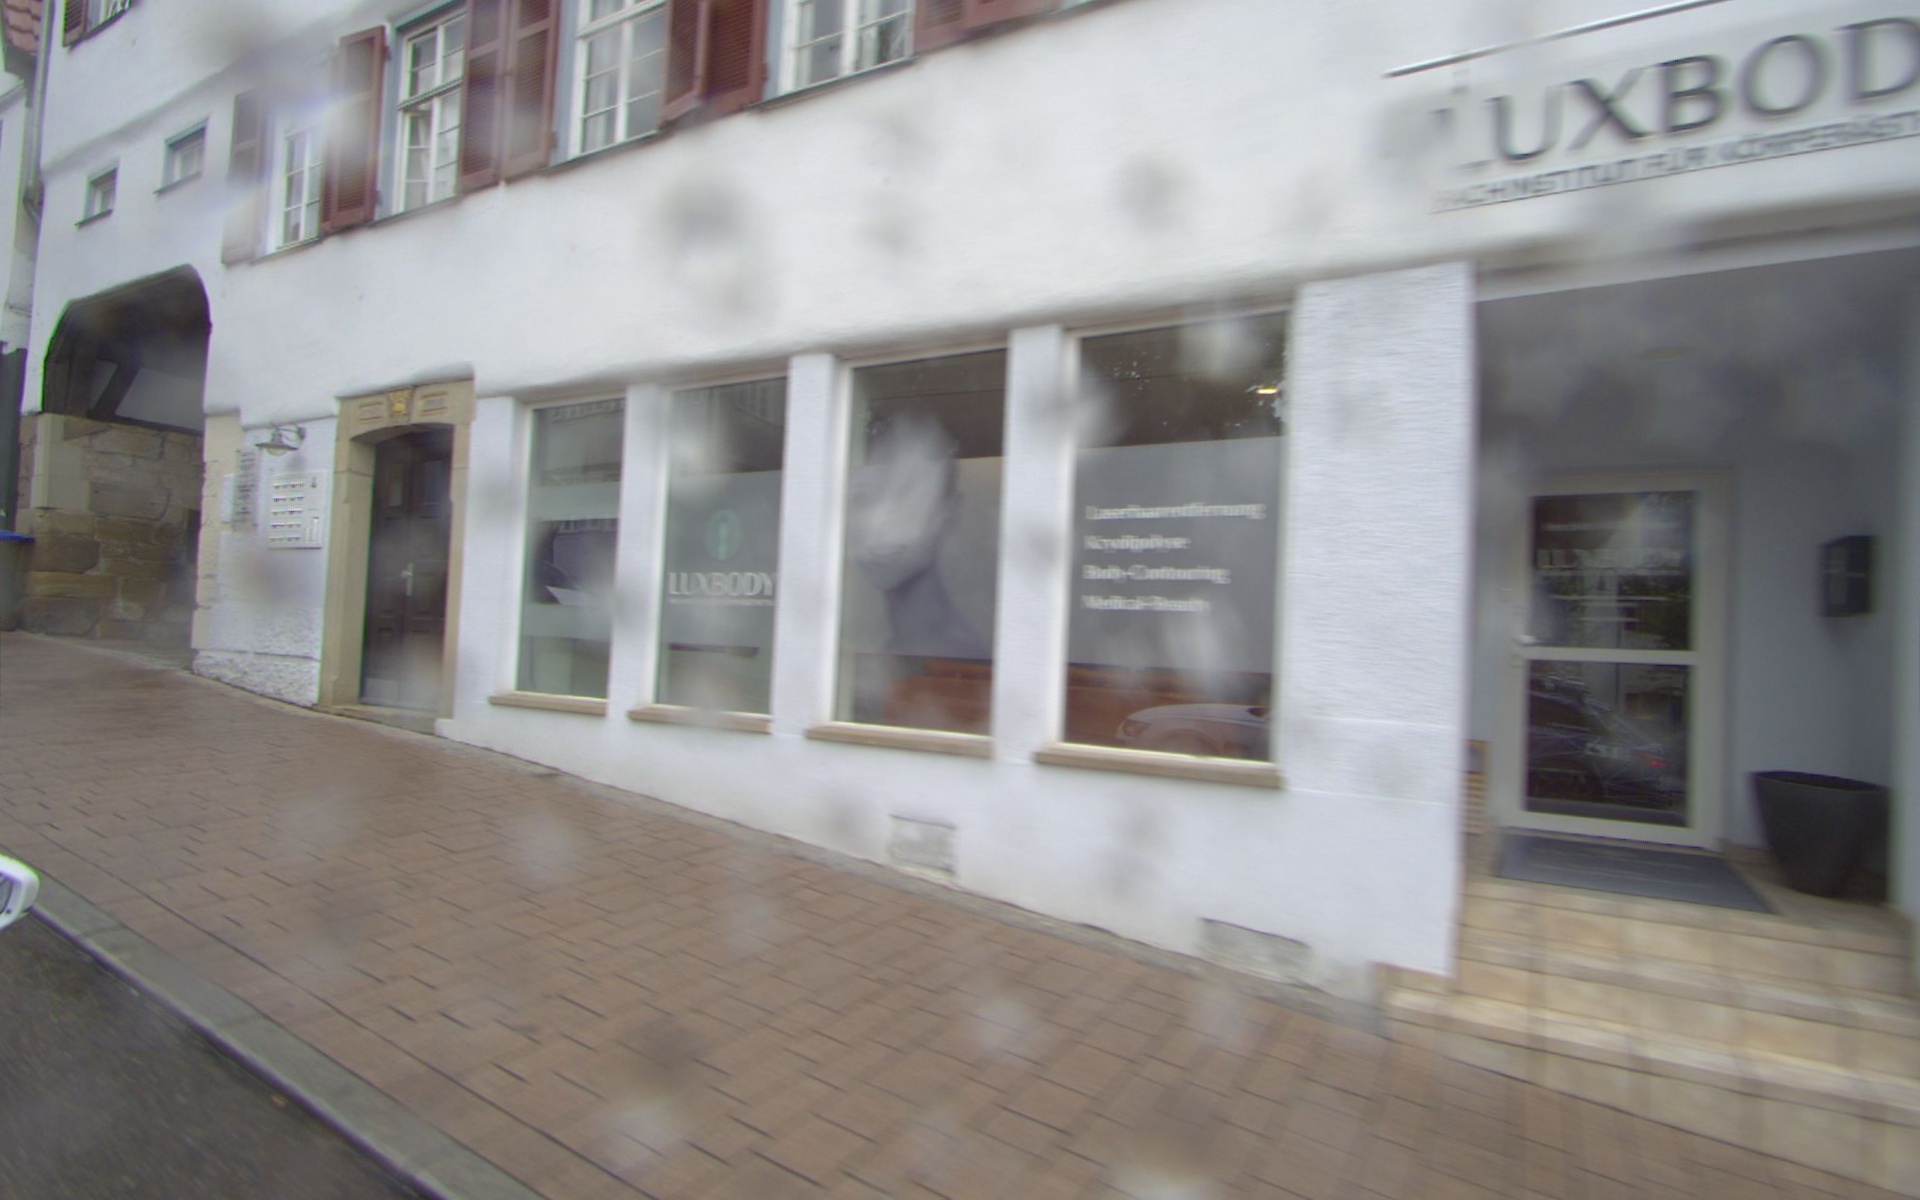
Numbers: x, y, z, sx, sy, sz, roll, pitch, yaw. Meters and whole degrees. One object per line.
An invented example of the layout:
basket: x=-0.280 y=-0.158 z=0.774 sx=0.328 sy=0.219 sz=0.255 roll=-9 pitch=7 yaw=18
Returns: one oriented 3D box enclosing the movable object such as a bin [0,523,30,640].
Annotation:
movable object such as a bin: x=-10.597 y=-0.228 z=10.810 sx=0.595 sy=1.220 sz=0.625 roll=9 pitch=1 yaw=29
